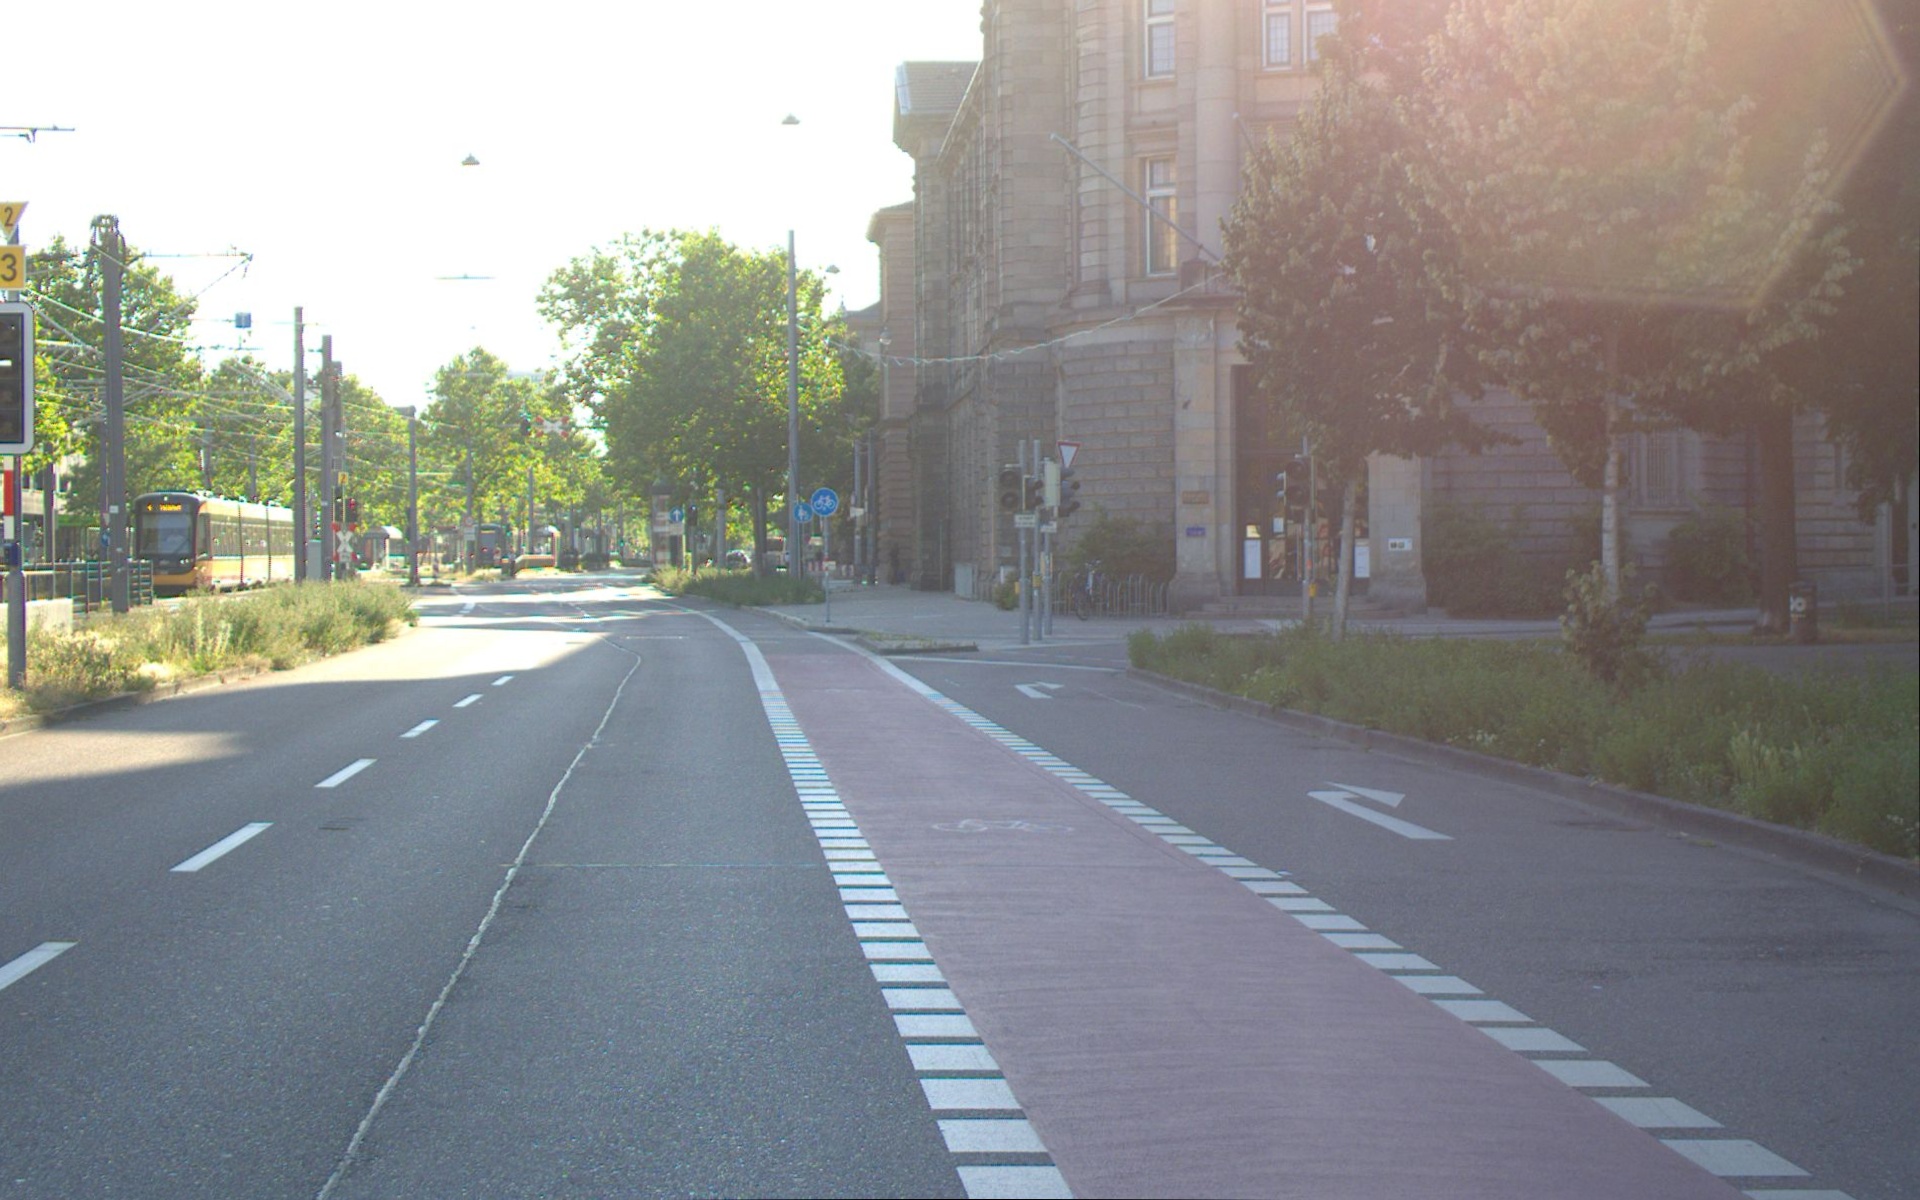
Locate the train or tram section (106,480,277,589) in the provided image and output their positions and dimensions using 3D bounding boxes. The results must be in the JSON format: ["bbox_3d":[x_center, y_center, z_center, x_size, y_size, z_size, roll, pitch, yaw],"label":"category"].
[{"bbox_3d":[-26.998,-2.280,121.809,3.111,3.547,17.480,-1,1,-3],"label":"train or tram section"}]

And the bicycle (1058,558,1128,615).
[{"bbox_3d":[2.876,-0.295,74.205,0.867,1.192,2.237,0,1,19],"label":"bicycle"}]
